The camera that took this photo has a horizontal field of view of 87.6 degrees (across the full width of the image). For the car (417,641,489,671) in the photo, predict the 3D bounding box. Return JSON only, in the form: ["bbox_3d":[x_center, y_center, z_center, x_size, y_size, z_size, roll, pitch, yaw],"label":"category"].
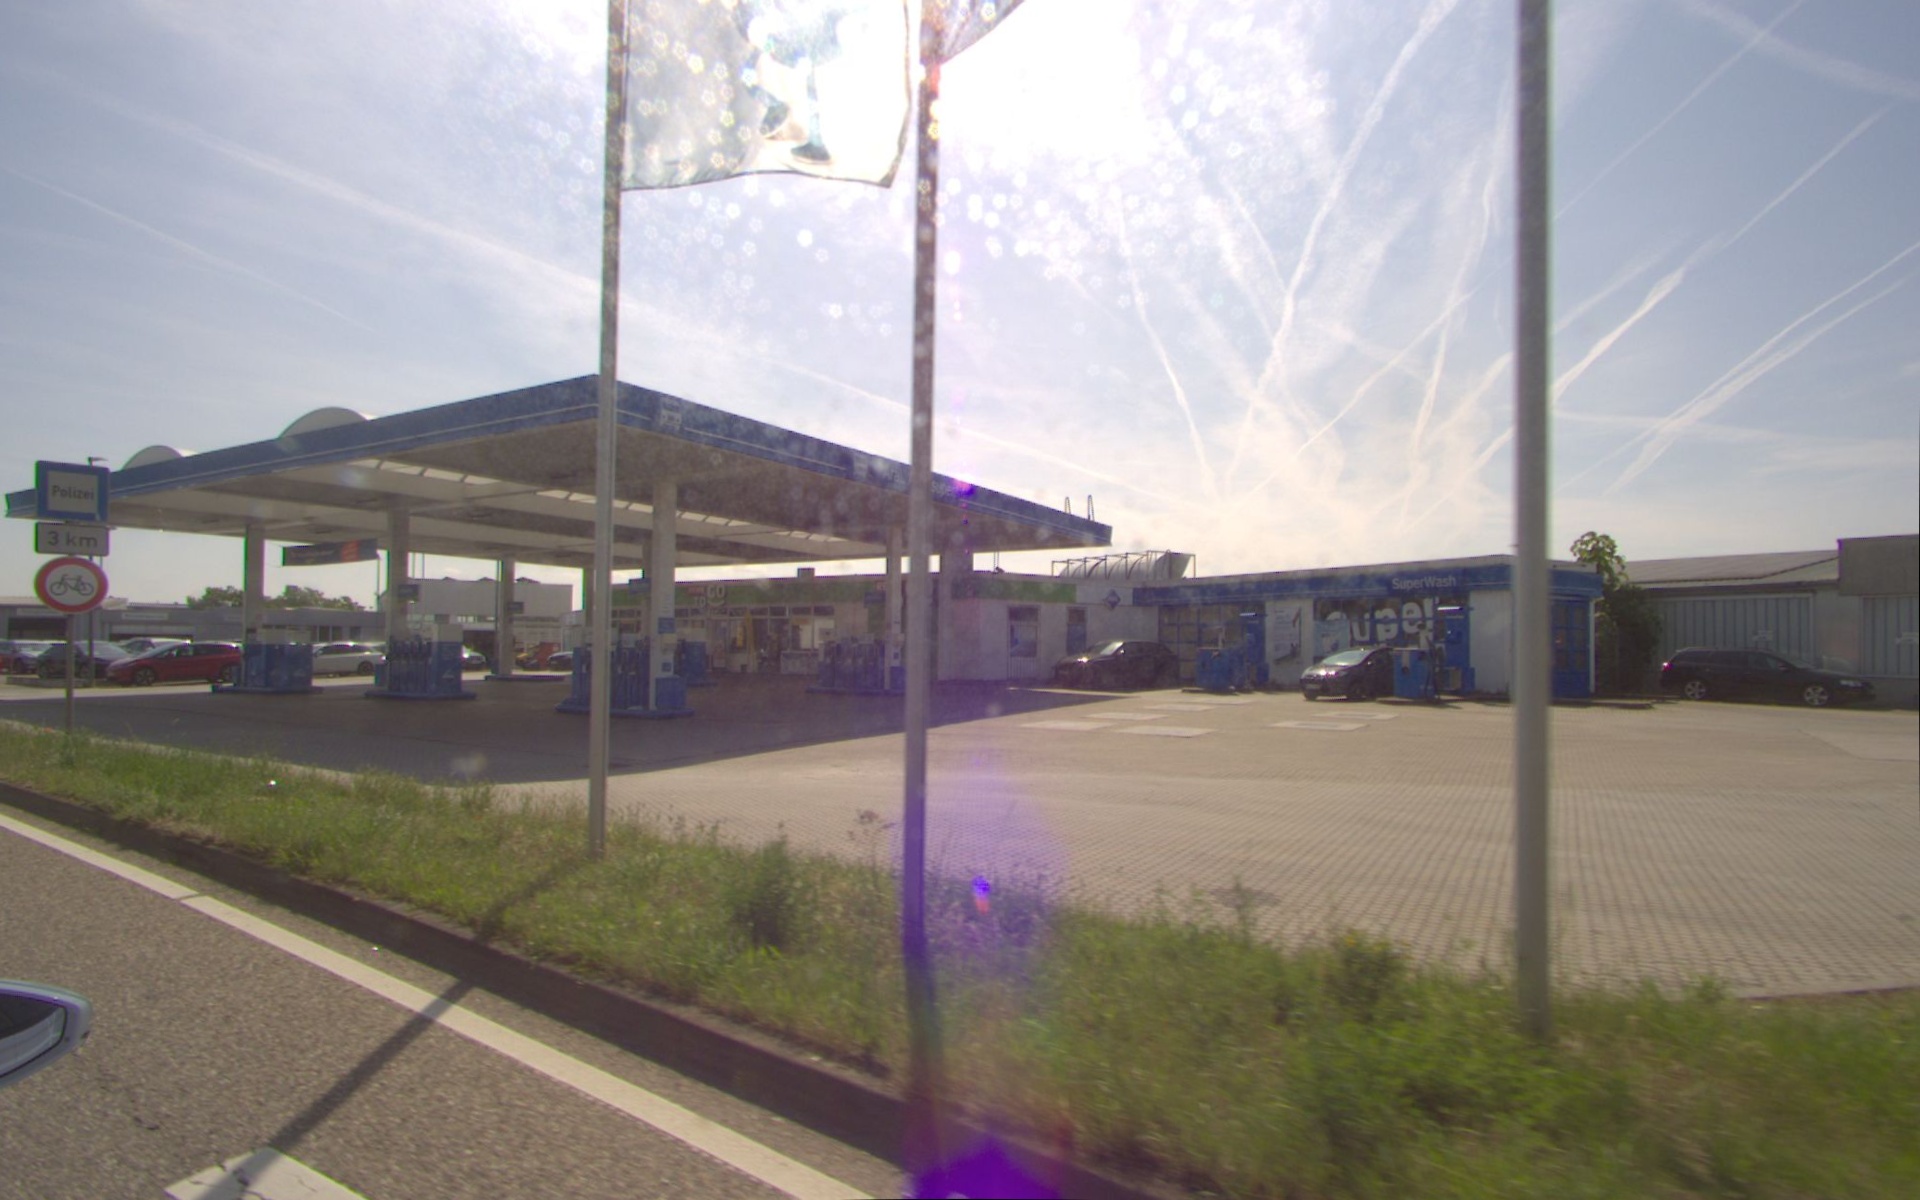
[{"bbox_3d":[-26.417,2.877,52.170,3.538,1.428,1.558,-1,0,26],"label":"car"}]

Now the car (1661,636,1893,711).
[{"bbox_3d":[22.221,1.924,27.423,1.867,1.849,4.623,1,-2,-36],"label":"car"}]

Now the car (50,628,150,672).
[{"bbox_3d":[-33.599,1.904,39.130,3.799,1.615,1.613,-1,0,26],"label":"car"}]

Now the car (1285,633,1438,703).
[{"bbox_3d":[11.260,1.851,28.050,4.113,1.849,1.881,2,-2,-31],"label":"car"}]

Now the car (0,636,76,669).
[{"bbox_3d":[-42.716,2.403,46.291,3.538,1.428,1.558,-1,0,26],"label":"car"}]

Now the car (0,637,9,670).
[{"bbox_3d":[-43.885,2.358,44.255,3.538,1.428,1.558,-1,0,26],"label":"car"}]

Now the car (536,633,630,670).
[{"bbox_3d":[-17.927,2.431,47.770,1.728,1.658,3.983,0,-2,30],"label":"car"}]

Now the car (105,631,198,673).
[{"bbox_3d":[-33.665,2.143,41.703,3.799,1.615,1.557,-1,0,26],"label":"car"}]

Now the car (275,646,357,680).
[{"bbox_3d":[-29.432,2.856,45.733,3.538,1.428,1.558,-1,0,26],"label":"car"}]

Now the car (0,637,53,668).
[{"bbox_3d":[-47.128,2.601,49.961,3.630,1.428,1.558,-1,0,26],"label":"car"}]

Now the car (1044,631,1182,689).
[{"bbox_3d":[5.432,2.144,35.296,4.670,1.847,1.894,4,-4,-31],"label":"car"}]

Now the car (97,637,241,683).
[{"bbox_3d":[-29.699,2.197,37.696,1.780,1.592,3.899,0,-2,30],"label":"car"}]

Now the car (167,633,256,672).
[{"bbox_3d":[-33.018,2.286,44.174,3.799,1.615,1.613,-1,0,26],"label":"car"}]

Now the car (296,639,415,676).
[{"bbox_3d":[-26.428,2.487,43.970,1.538,1.513,4.329,0,-2,26],"label":"car"}]
